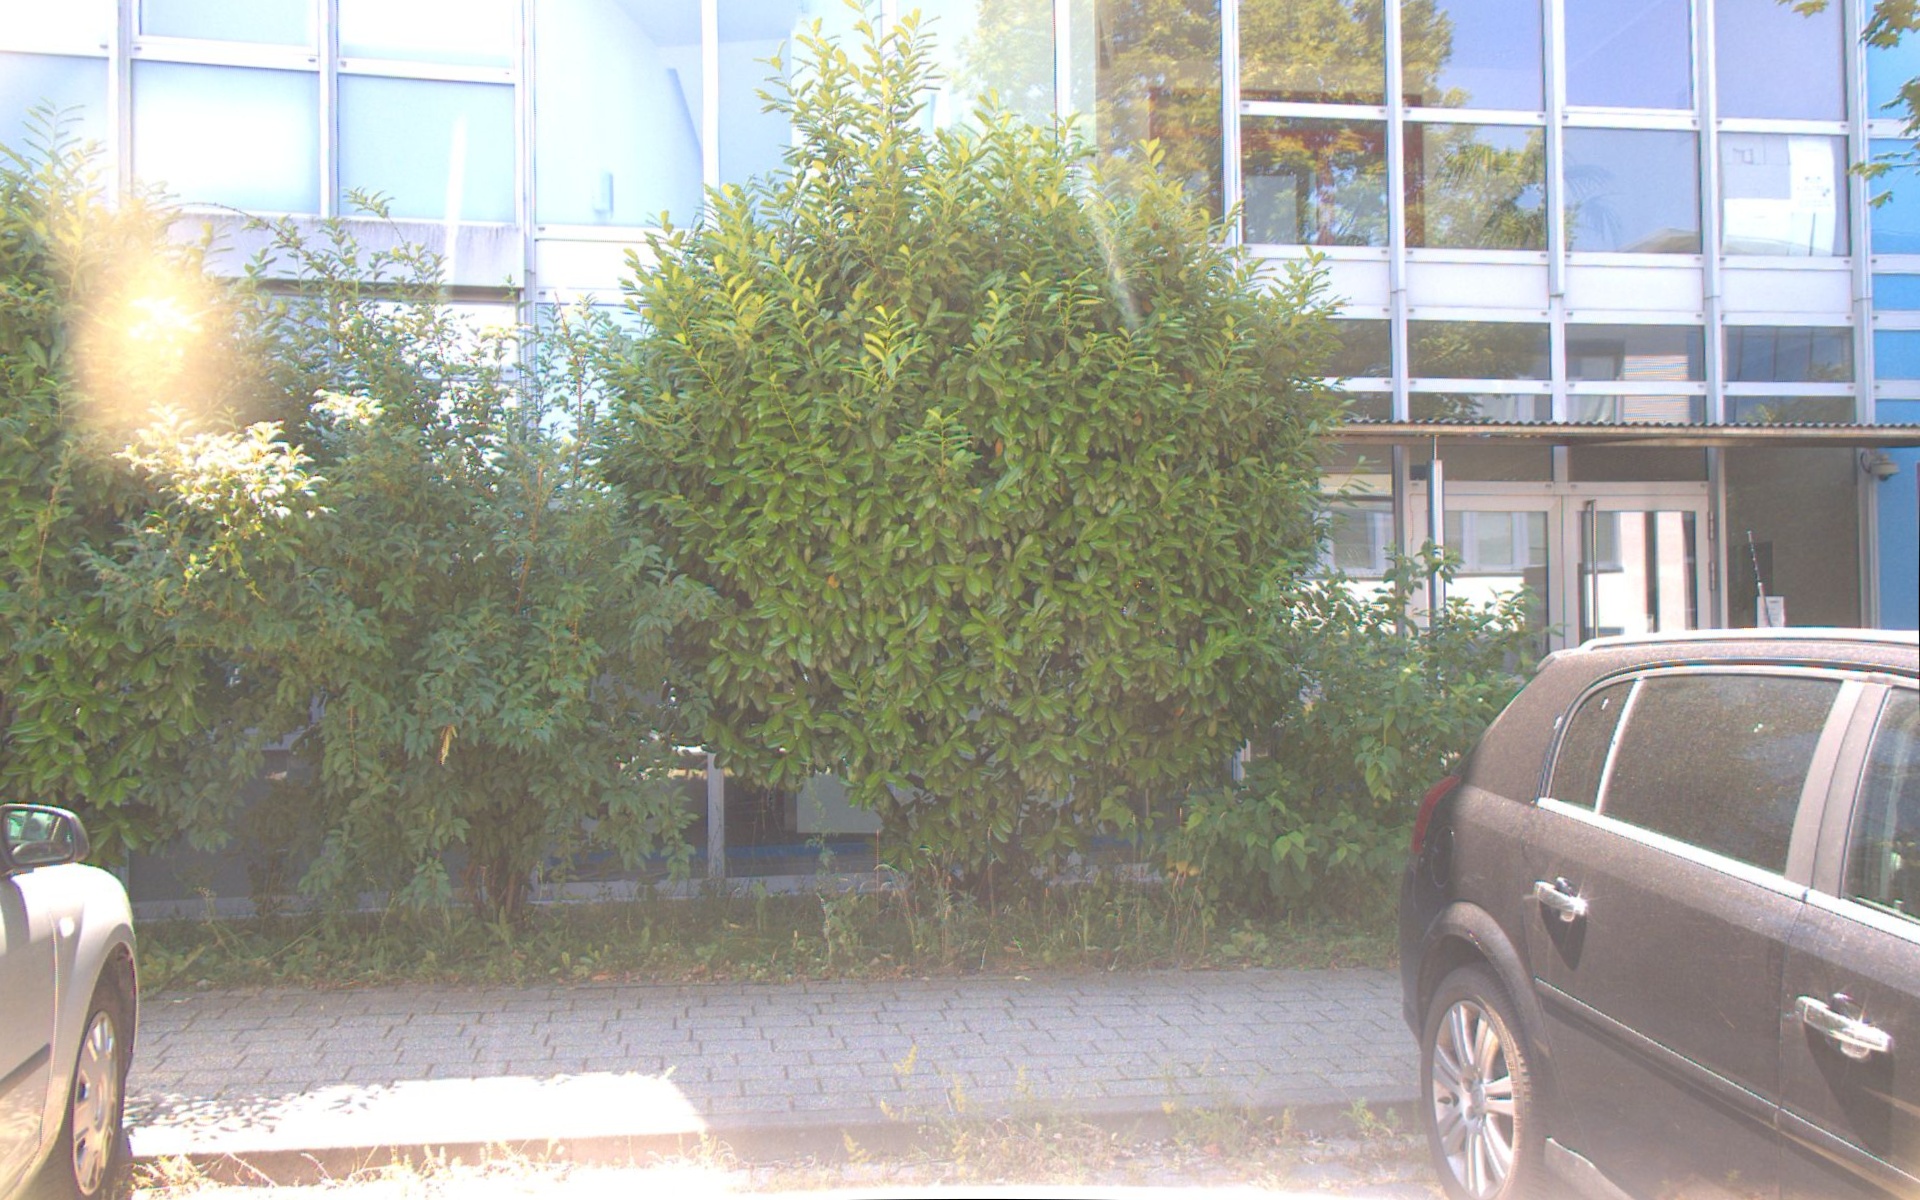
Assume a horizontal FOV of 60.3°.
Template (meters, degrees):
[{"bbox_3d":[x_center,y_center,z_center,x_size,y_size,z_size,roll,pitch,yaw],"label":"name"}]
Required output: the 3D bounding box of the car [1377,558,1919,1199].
[{"bbox_3d":[2.360,0.732,2.727,1.724,1.576,4.558,1,-1,-7],"label":"car"}]

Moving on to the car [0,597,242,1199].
[{"bbox_3d":[-2.438,0.731,2.375,1.689,1.505,4.335,1,-1,-12],"label":"car"}]
